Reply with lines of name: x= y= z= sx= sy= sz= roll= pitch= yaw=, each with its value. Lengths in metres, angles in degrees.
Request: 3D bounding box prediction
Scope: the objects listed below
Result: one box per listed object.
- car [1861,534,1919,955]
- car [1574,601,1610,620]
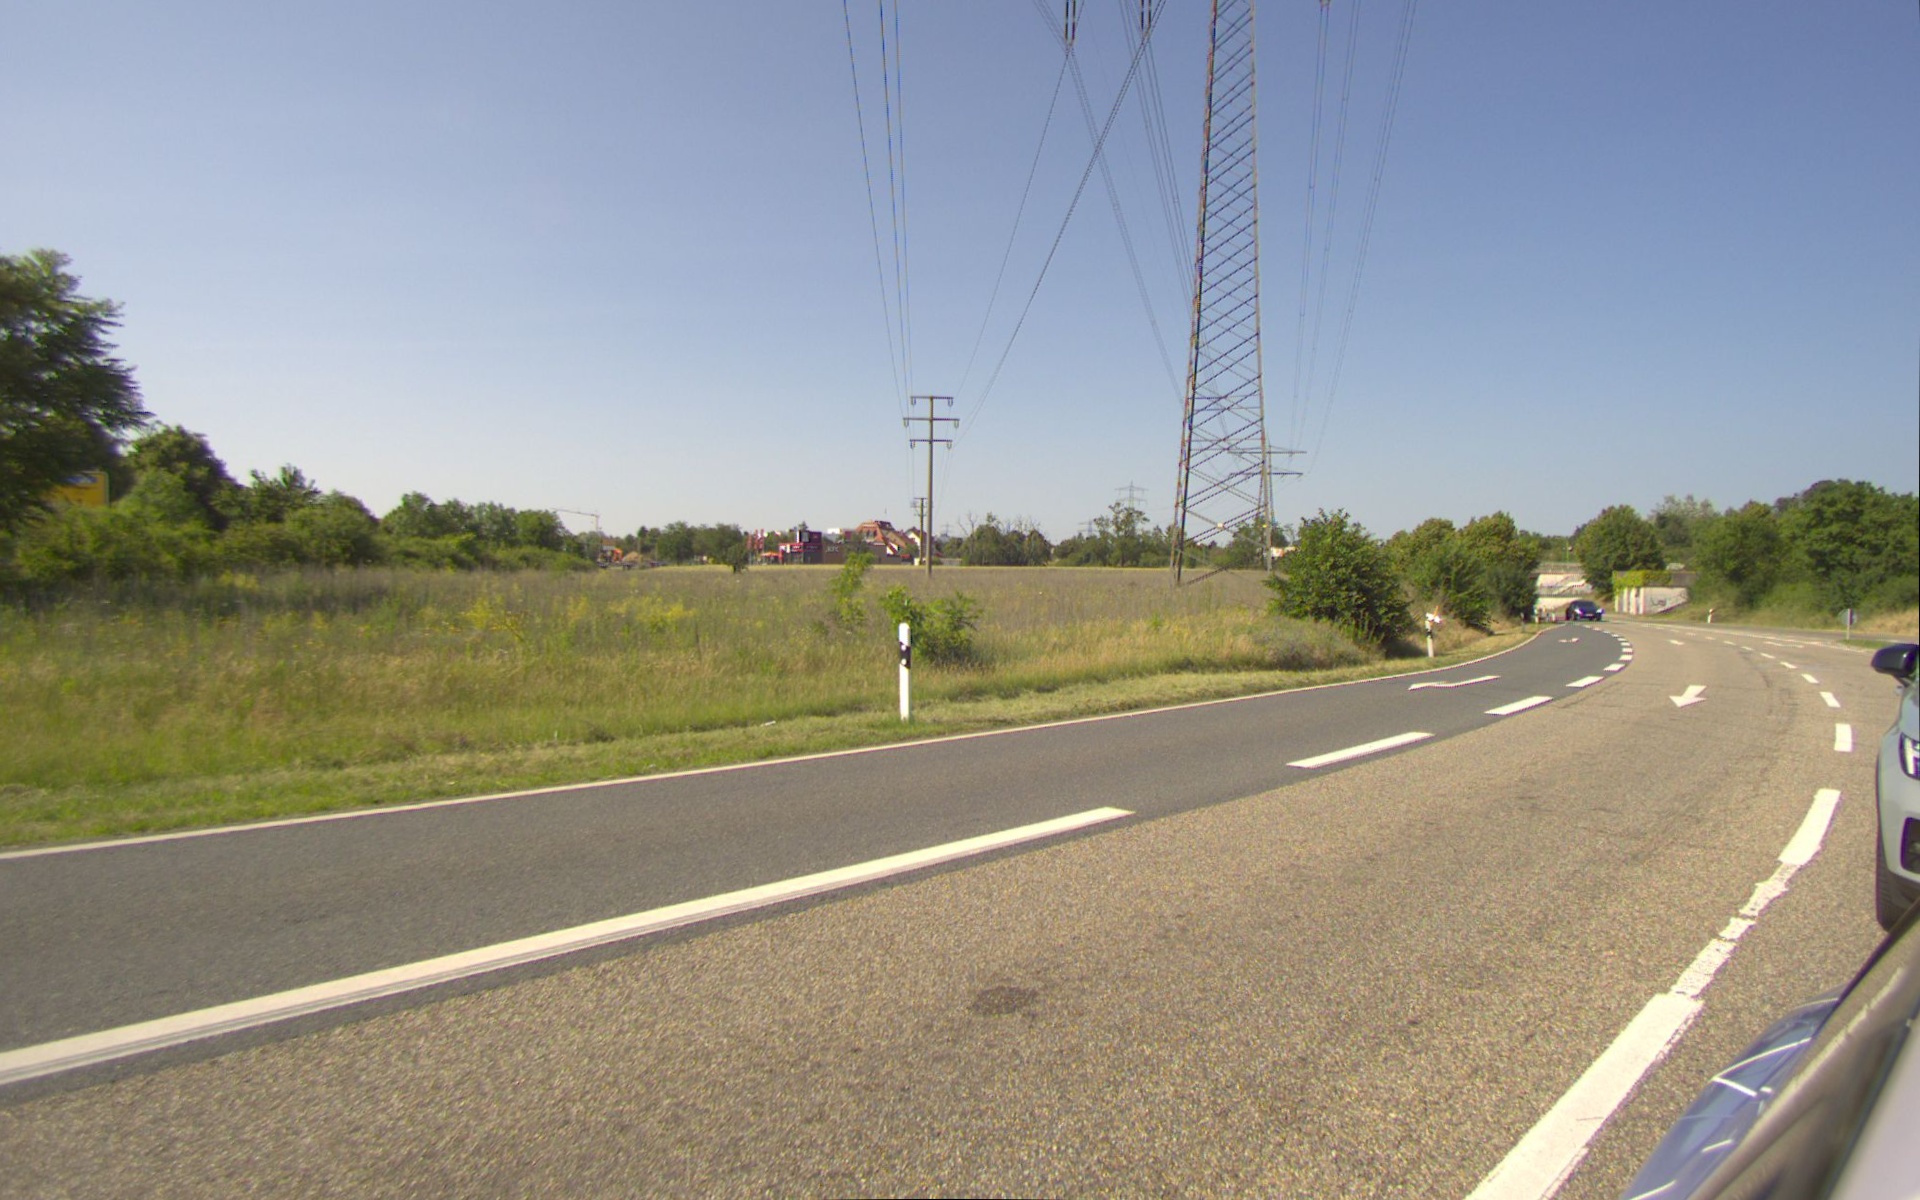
car: x=5.579 y=0.577 z=4.540 sx=3.583 sy=1.640 sz=1.858 roll=0 pitch=0 yaw=-41
car: x=49.570 y=0.839 z=79.417 sx=1.878 sy=1.369 sz=3.505 roll=-1 pitch=0 yaw=24
